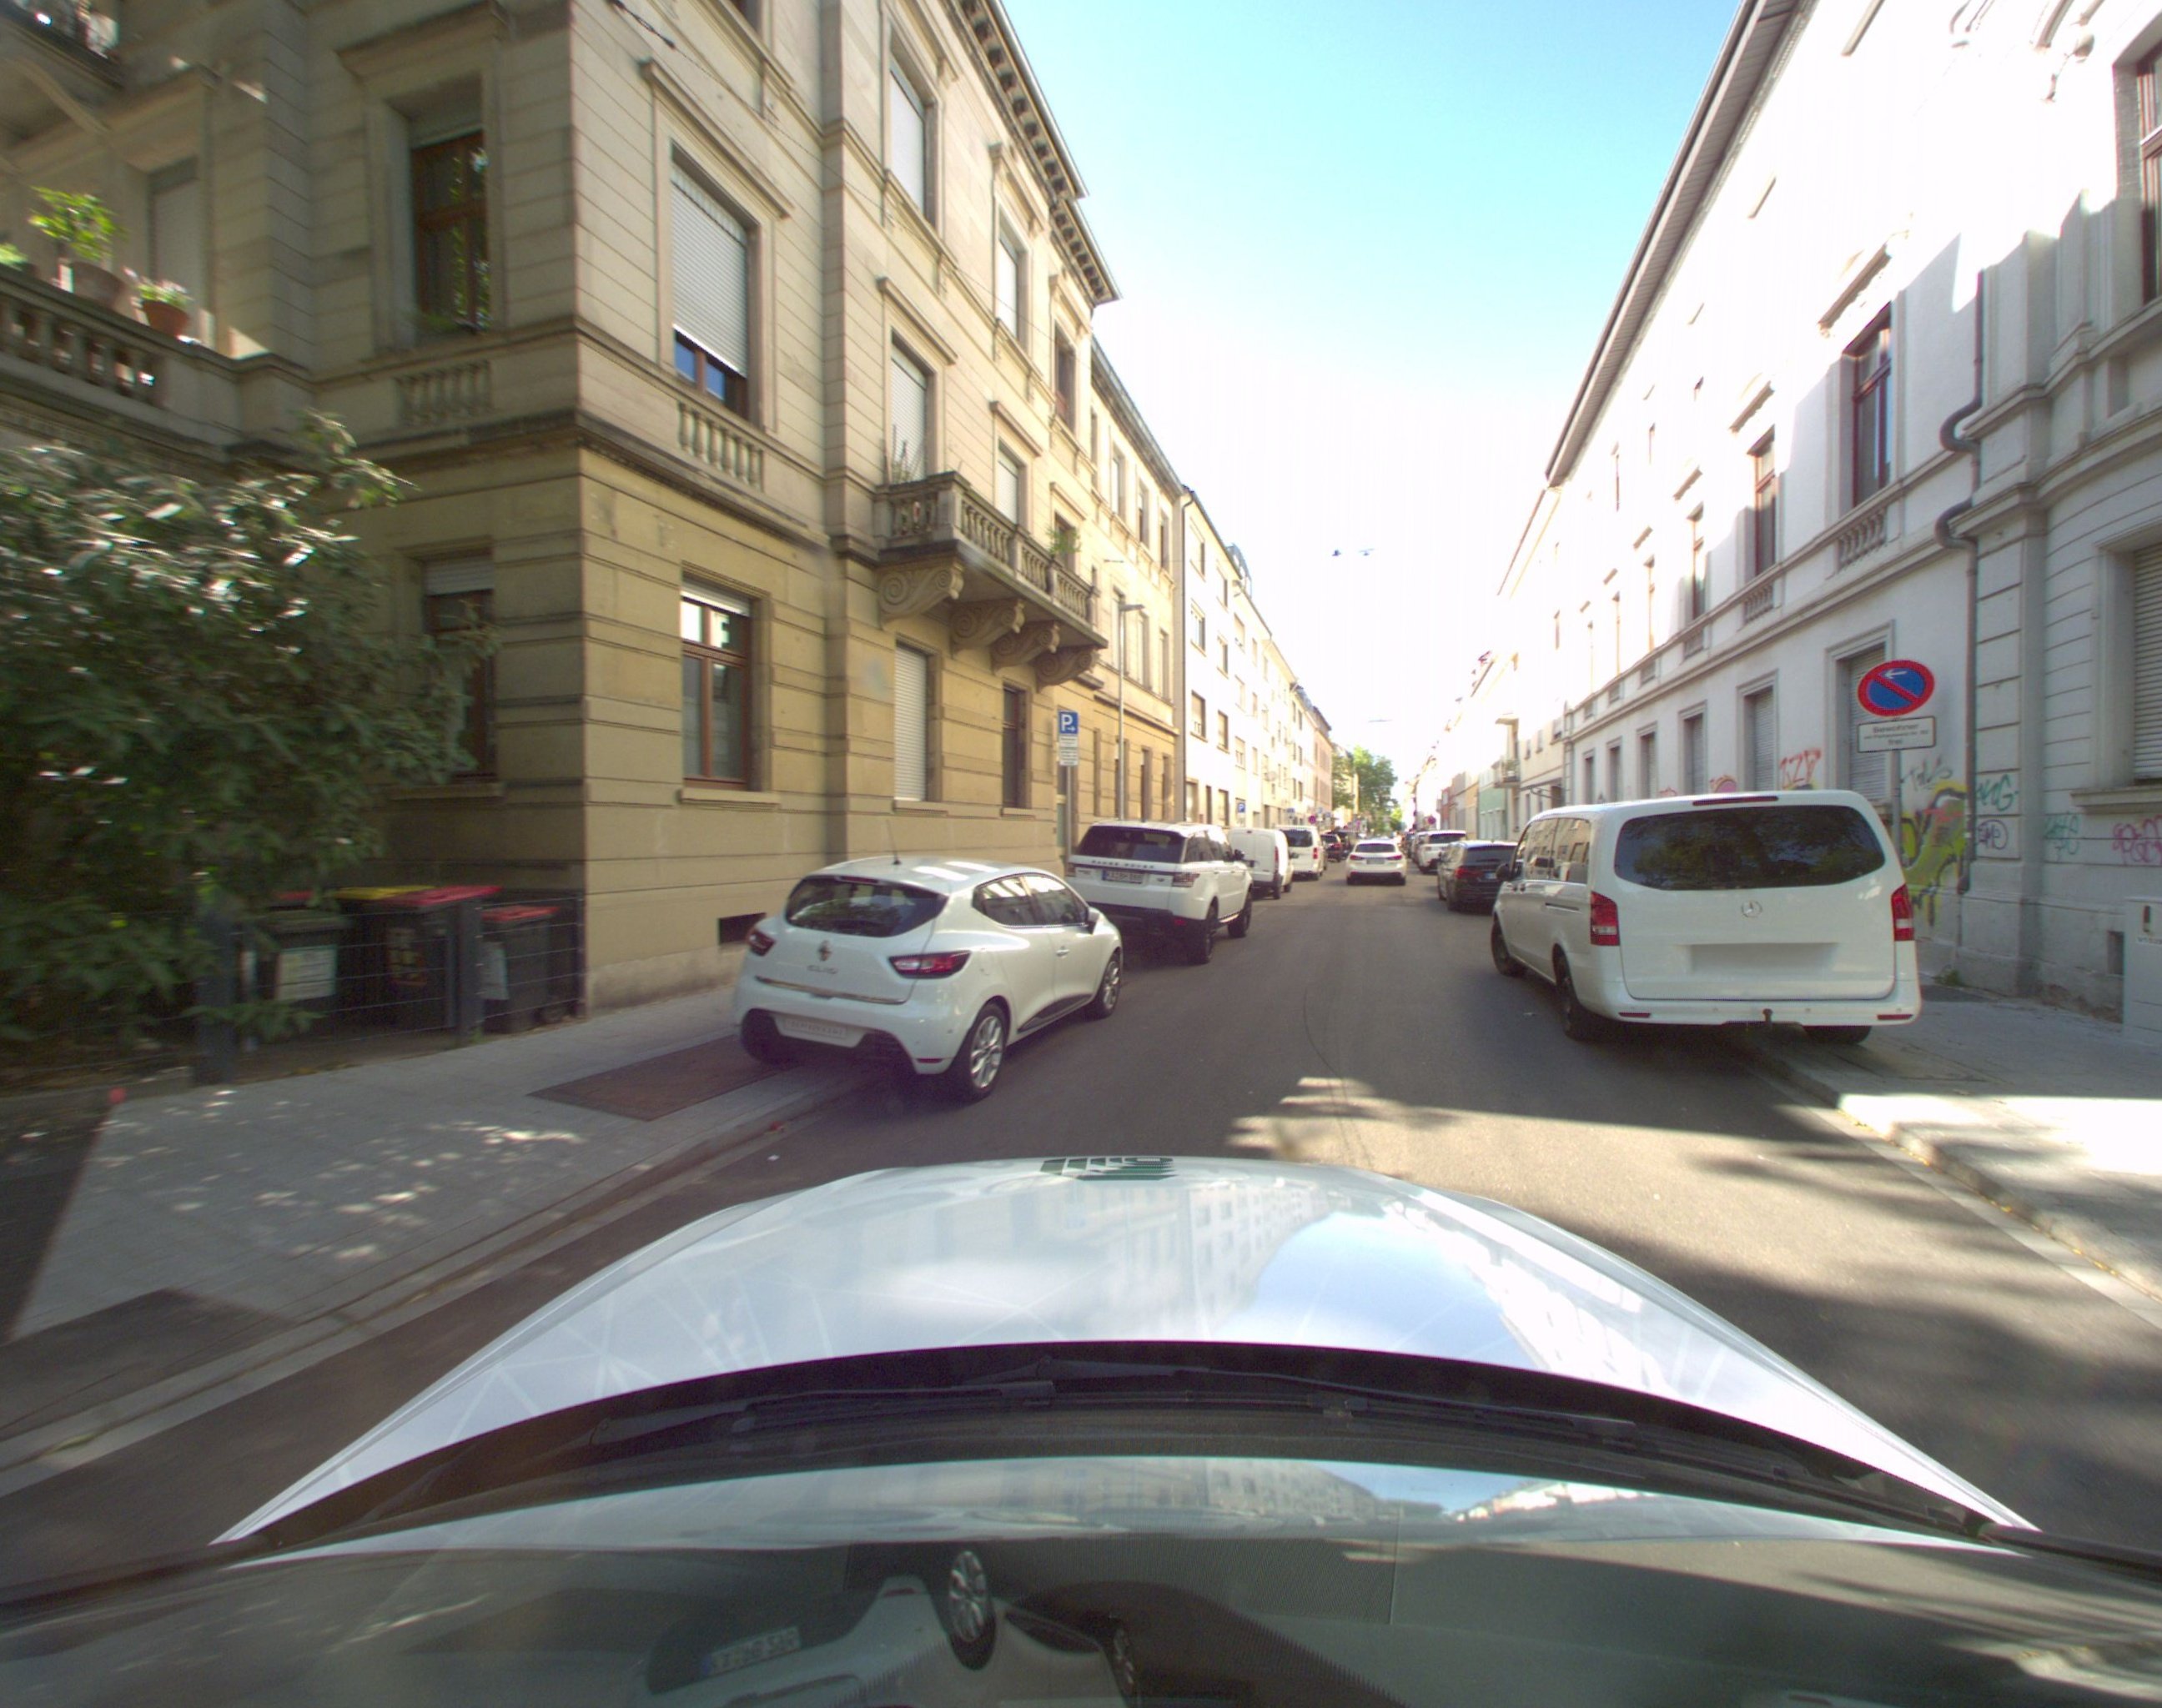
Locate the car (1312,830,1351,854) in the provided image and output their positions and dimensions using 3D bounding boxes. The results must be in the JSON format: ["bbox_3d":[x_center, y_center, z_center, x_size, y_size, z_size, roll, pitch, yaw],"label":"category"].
[{"bbox_3d":[18.418,-0.886,59.752,2.420,1.705,5.270,0,1,21],"label":"car"}]

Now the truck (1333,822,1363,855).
[{"bbox_3d":[21.895,-1.195,66.888,2.140,2.590,6.276,-1,0,16],"label":"truck"}]

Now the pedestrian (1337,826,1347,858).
[{"bbox_3d":[18.321,-0.843,57.179,0.613,2.229,0.691,-1,-1,21],"label":"pedestrian"}]

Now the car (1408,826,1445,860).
[{"bbox_3d":[20.513,-0.651,48.441,1.767,1.961,4.358,0,1,20],"label":"car"}]

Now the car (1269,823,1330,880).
[{"bbox_3d":[8.402,-0.171,31.037,1.879,1.958,4.805,2,2,19],"label":"car"}]

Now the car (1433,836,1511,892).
[{"bbox_3d":[11.541,0.226,24.246,1.732,1.448,3.890,2,2,21],"label":"car"}]

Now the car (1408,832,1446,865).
[{"bbox_3d":[18.415,-0.317,43.476,1.568,1.632,3.700,1,2,18],"label":"car"}]

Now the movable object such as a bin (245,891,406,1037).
[{"bbox_3d":[-5.653,0.791,6.122,0.541,0.970,0.693,0,1,20],"label":"movable object such as a bin"}]

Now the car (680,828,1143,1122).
[{"bbox_3d":[-0.927,0.634,6.591,1.852,1.561,3.961,2,1,19],"label":"car"}]

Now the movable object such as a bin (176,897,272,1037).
[{"bbox_3d":[-6.349,0.822,6.037,0.378,0.970,0.346,0,1,20],"label":"movable object such as a bin"}]

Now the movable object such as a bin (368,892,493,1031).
[{"bbox_3d":[-4.977,0.794,6.246,0.541,0.970,0.523,0,1,20],"label":"movable object such as a bin"}]

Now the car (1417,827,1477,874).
[{"bbox_3d":[15.137,-0.210,33.892,1.988,1.783,4.965,0,2,21],"label":"car"}]

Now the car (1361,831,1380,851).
[{"bbox_3d":[28.827,-1.293,81.127,1.634,1.867,4.019,0,1,18],"label":"car"}]

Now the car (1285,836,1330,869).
[{"bbox_3d":[10.607,-0.114,37.972,1.692,1.450,4.323,1,1,20],"label":"car"}]

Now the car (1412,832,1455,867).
[{"bbox_3d":[16.962,-0.265,39.342,1.727,1.568,4.053,0,1,21],"label":"car"}]

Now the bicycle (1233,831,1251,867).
[{"bbox_3d":[7.019,-0.225,35.423,0.553,1.509,1.809,2,1,17],"label":"bicycle"}]

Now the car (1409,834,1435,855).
[{"bbox_3d":[26.406,-0.768,63.097,1.727,1.568,4.053,0,1,21],"label":"car"}]

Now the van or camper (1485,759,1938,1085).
[{"bbox_3d":[5.219,0.356,7.708,1.878,2.013,5.056,0,1,19],"label":"van or camper"}]

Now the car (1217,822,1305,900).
[{"bbox_3d":[5.095,0.117,22.663,1.730,1.875,4.111,4,3,21],"label":"car"}]

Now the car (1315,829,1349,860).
[{"bbox_3d":[15.834,-0.634,51.346,1.865,1.755,4.564,3,3,17],"label":"car"}]

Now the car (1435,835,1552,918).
[{"bbox_3d":[9.081,0.377,18.299,1.799,1.519,4.752,2,2,21],"label":"car"}]

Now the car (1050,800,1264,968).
[{"bbox_3d":[1.371,0.319,12.195,2.004,2.013,4.567,0,1,21],"label":"car"}]

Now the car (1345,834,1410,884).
[{"bbox_3d":[9.852,0.149,26.898,1.818,1.486,4.079,-2,0,22],"label":"car"}]

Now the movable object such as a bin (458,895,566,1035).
[{"bbox_3d":[-4.332,0.823,6.221,0.394,0.970,0.523,0,1,20],"label":"movable object such as a bin"}]
